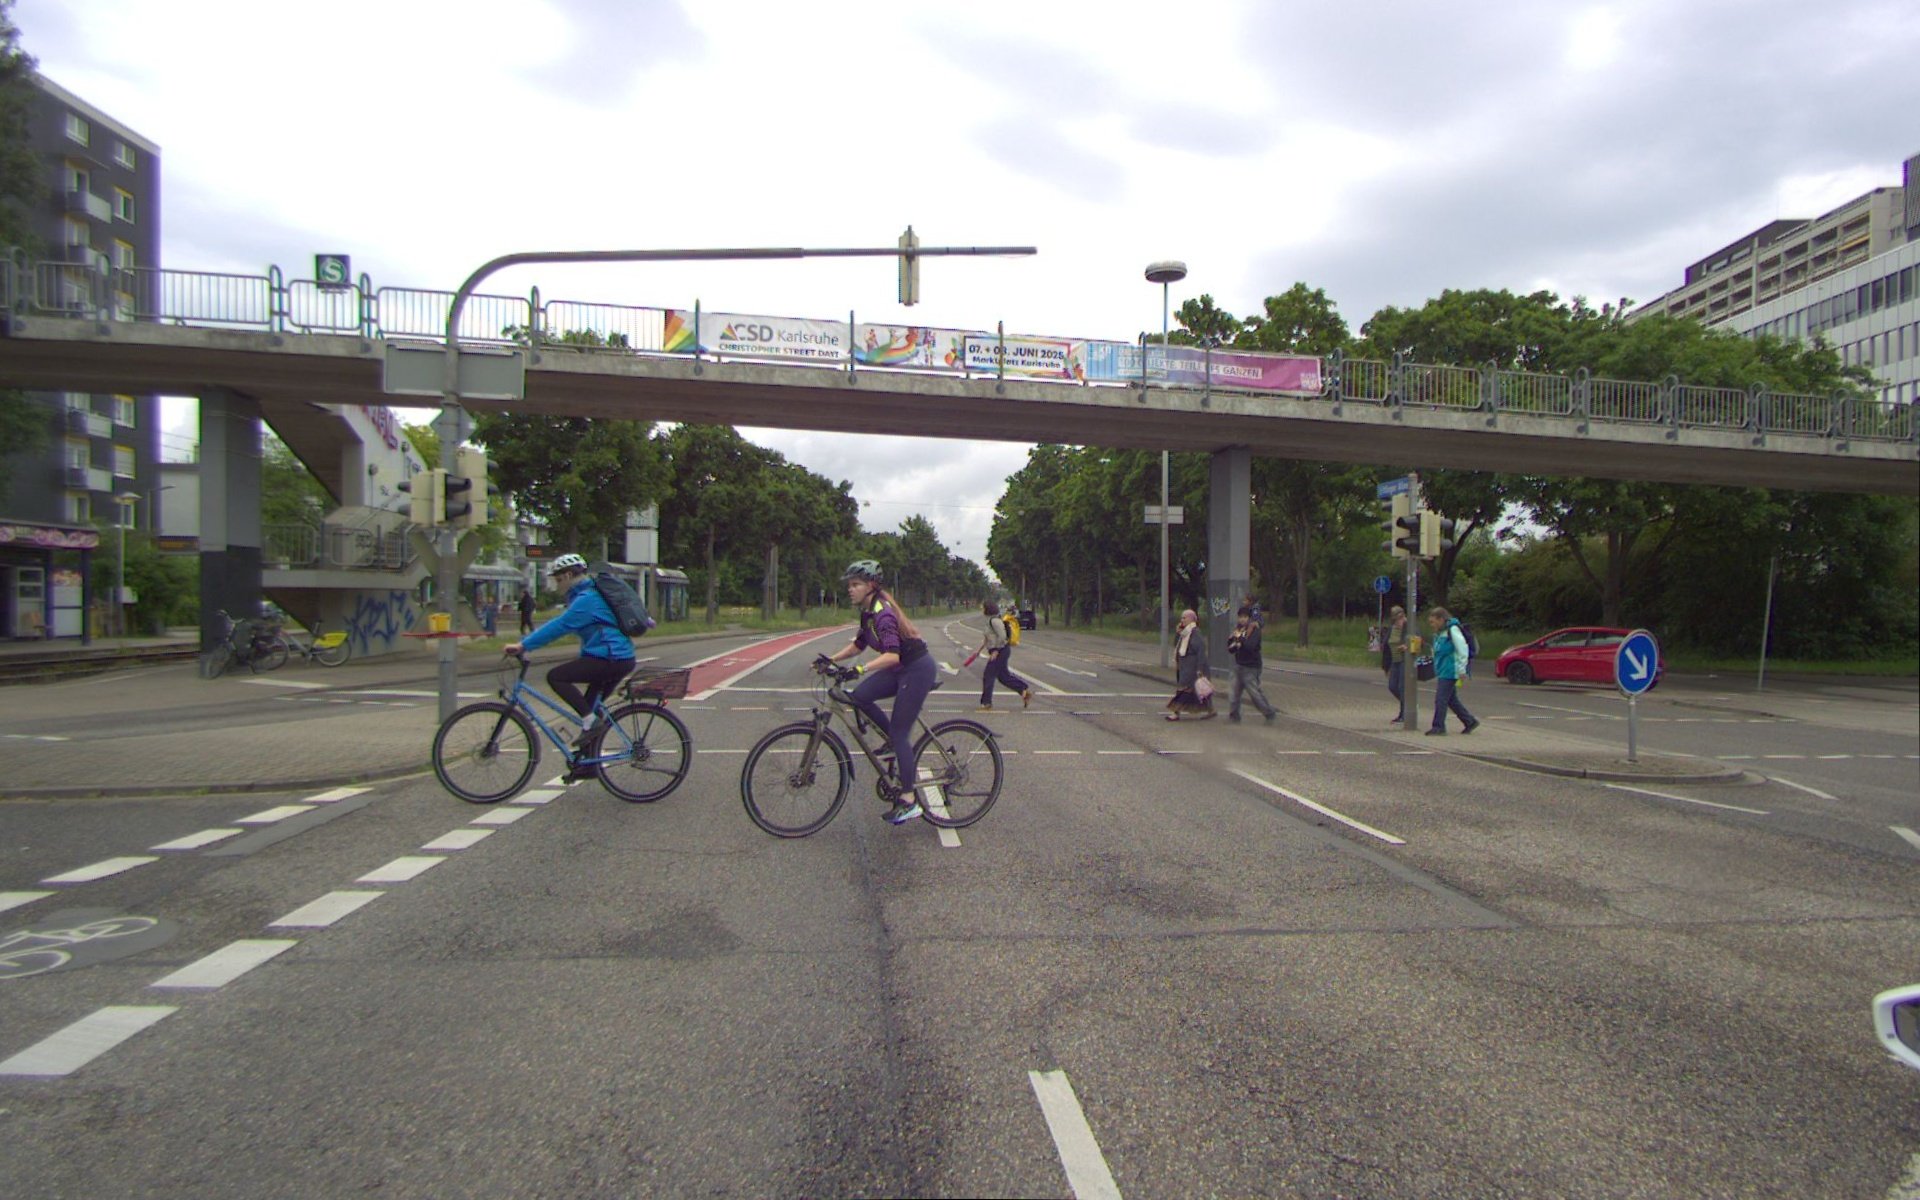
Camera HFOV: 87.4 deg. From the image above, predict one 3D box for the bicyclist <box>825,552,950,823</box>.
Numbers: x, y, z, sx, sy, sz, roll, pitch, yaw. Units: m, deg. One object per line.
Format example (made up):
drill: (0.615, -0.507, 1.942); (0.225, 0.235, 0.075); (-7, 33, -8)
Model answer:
bicyclist: (-0.478, 0.529, 6.395); (0.683, 1.615, 0.680); (1, 0, -12)

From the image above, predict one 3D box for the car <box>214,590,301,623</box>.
car: (-35.793, 0.329, 51.280); (1.636, 1.581, 4.000); (1, 0, -1)

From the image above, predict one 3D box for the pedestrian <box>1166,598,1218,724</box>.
pedestrian: (3.230, 0.828, 14.033); (0.400, 1.714, 0.616); (0, 0, -25)

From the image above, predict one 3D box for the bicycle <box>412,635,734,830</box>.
bicycle: (-2.696, 0.908, 7.192); (2.074, 1.284, 0.543); (1, 0, -12)

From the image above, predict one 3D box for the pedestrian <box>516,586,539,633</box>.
pedestrian: (-15.680, 0.343, 36.425); (0.590, 1.664, 0.663); (1, 0, -7)

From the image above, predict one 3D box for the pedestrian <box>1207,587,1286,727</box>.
pedestrian: (3.861, 0.751, 13.560); (0.790, 1.828, 0.636); (1, 0, -20)

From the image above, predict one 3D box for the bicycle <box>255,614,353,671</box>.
bicycle: (-13.099, 0.840, 20.085); (1.601, 1.109, 0.347); (1, 0, -38)

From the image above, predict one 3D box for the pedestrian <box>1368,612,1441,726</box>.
pedestrian: (6.257, 0.944, 14.163); (0.398, 1.531, 0.915); (1, 0, -22)

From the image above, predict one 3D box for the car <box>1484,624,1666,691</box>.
car: (14.769, 1.336, 24.223); (3.484, 1.409, 1.508); (1, 0, 45)

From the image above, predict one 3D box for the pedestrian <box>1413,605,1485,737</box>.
pedestrian: (6.257, 0.885, 12.863); (0.480, 1.626, 0.687); (1, 0, -16)

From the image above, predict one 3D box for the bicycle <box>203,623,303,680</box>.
bicycle: (-12.942, 0.912, 18.457); (0.367, 0.934, 2.037); (1, 0, 0)

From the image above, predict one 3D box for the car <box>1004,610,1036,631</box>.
car: (4.589, 1.555, 77.743); (1.642, 1.528, 4.392); (0, 0, -8)

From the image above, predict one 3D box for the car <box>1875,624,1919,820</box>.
car: (9.567, 0.966, 7.549); (4.312, 1.497, 1.772); (1, 0, -11)

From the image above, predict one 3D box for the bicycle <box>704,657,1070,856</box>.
bicycle: (-0.474, 0.946, 6.448); (2.224, 1.116, 0.727); (1, 0, -12)

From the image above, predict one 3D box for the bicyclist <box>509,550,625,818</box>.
bicyclist: (-2.757, 0.572, 7.110); (0.635, 1.792, 0.645); (1, -1, -11)

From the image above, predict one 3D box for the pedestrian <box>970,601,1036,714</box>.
pedestrian: (0.631, 0.825, 14.742); (0.772, 1.600, 0.576); (1, 0, -30)

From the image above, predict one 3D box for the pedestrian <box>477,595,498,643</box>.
pedestrian: (-15.567, 0.620, 33.109); (0.550, 1.585, 0.334); (1, 0, -11)

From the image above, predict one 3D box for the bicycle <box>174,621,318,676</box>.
bicycle: (-13.054, 0.859, 18.476); (0.546, 0.900, 2.408); (1, 0, 12)
